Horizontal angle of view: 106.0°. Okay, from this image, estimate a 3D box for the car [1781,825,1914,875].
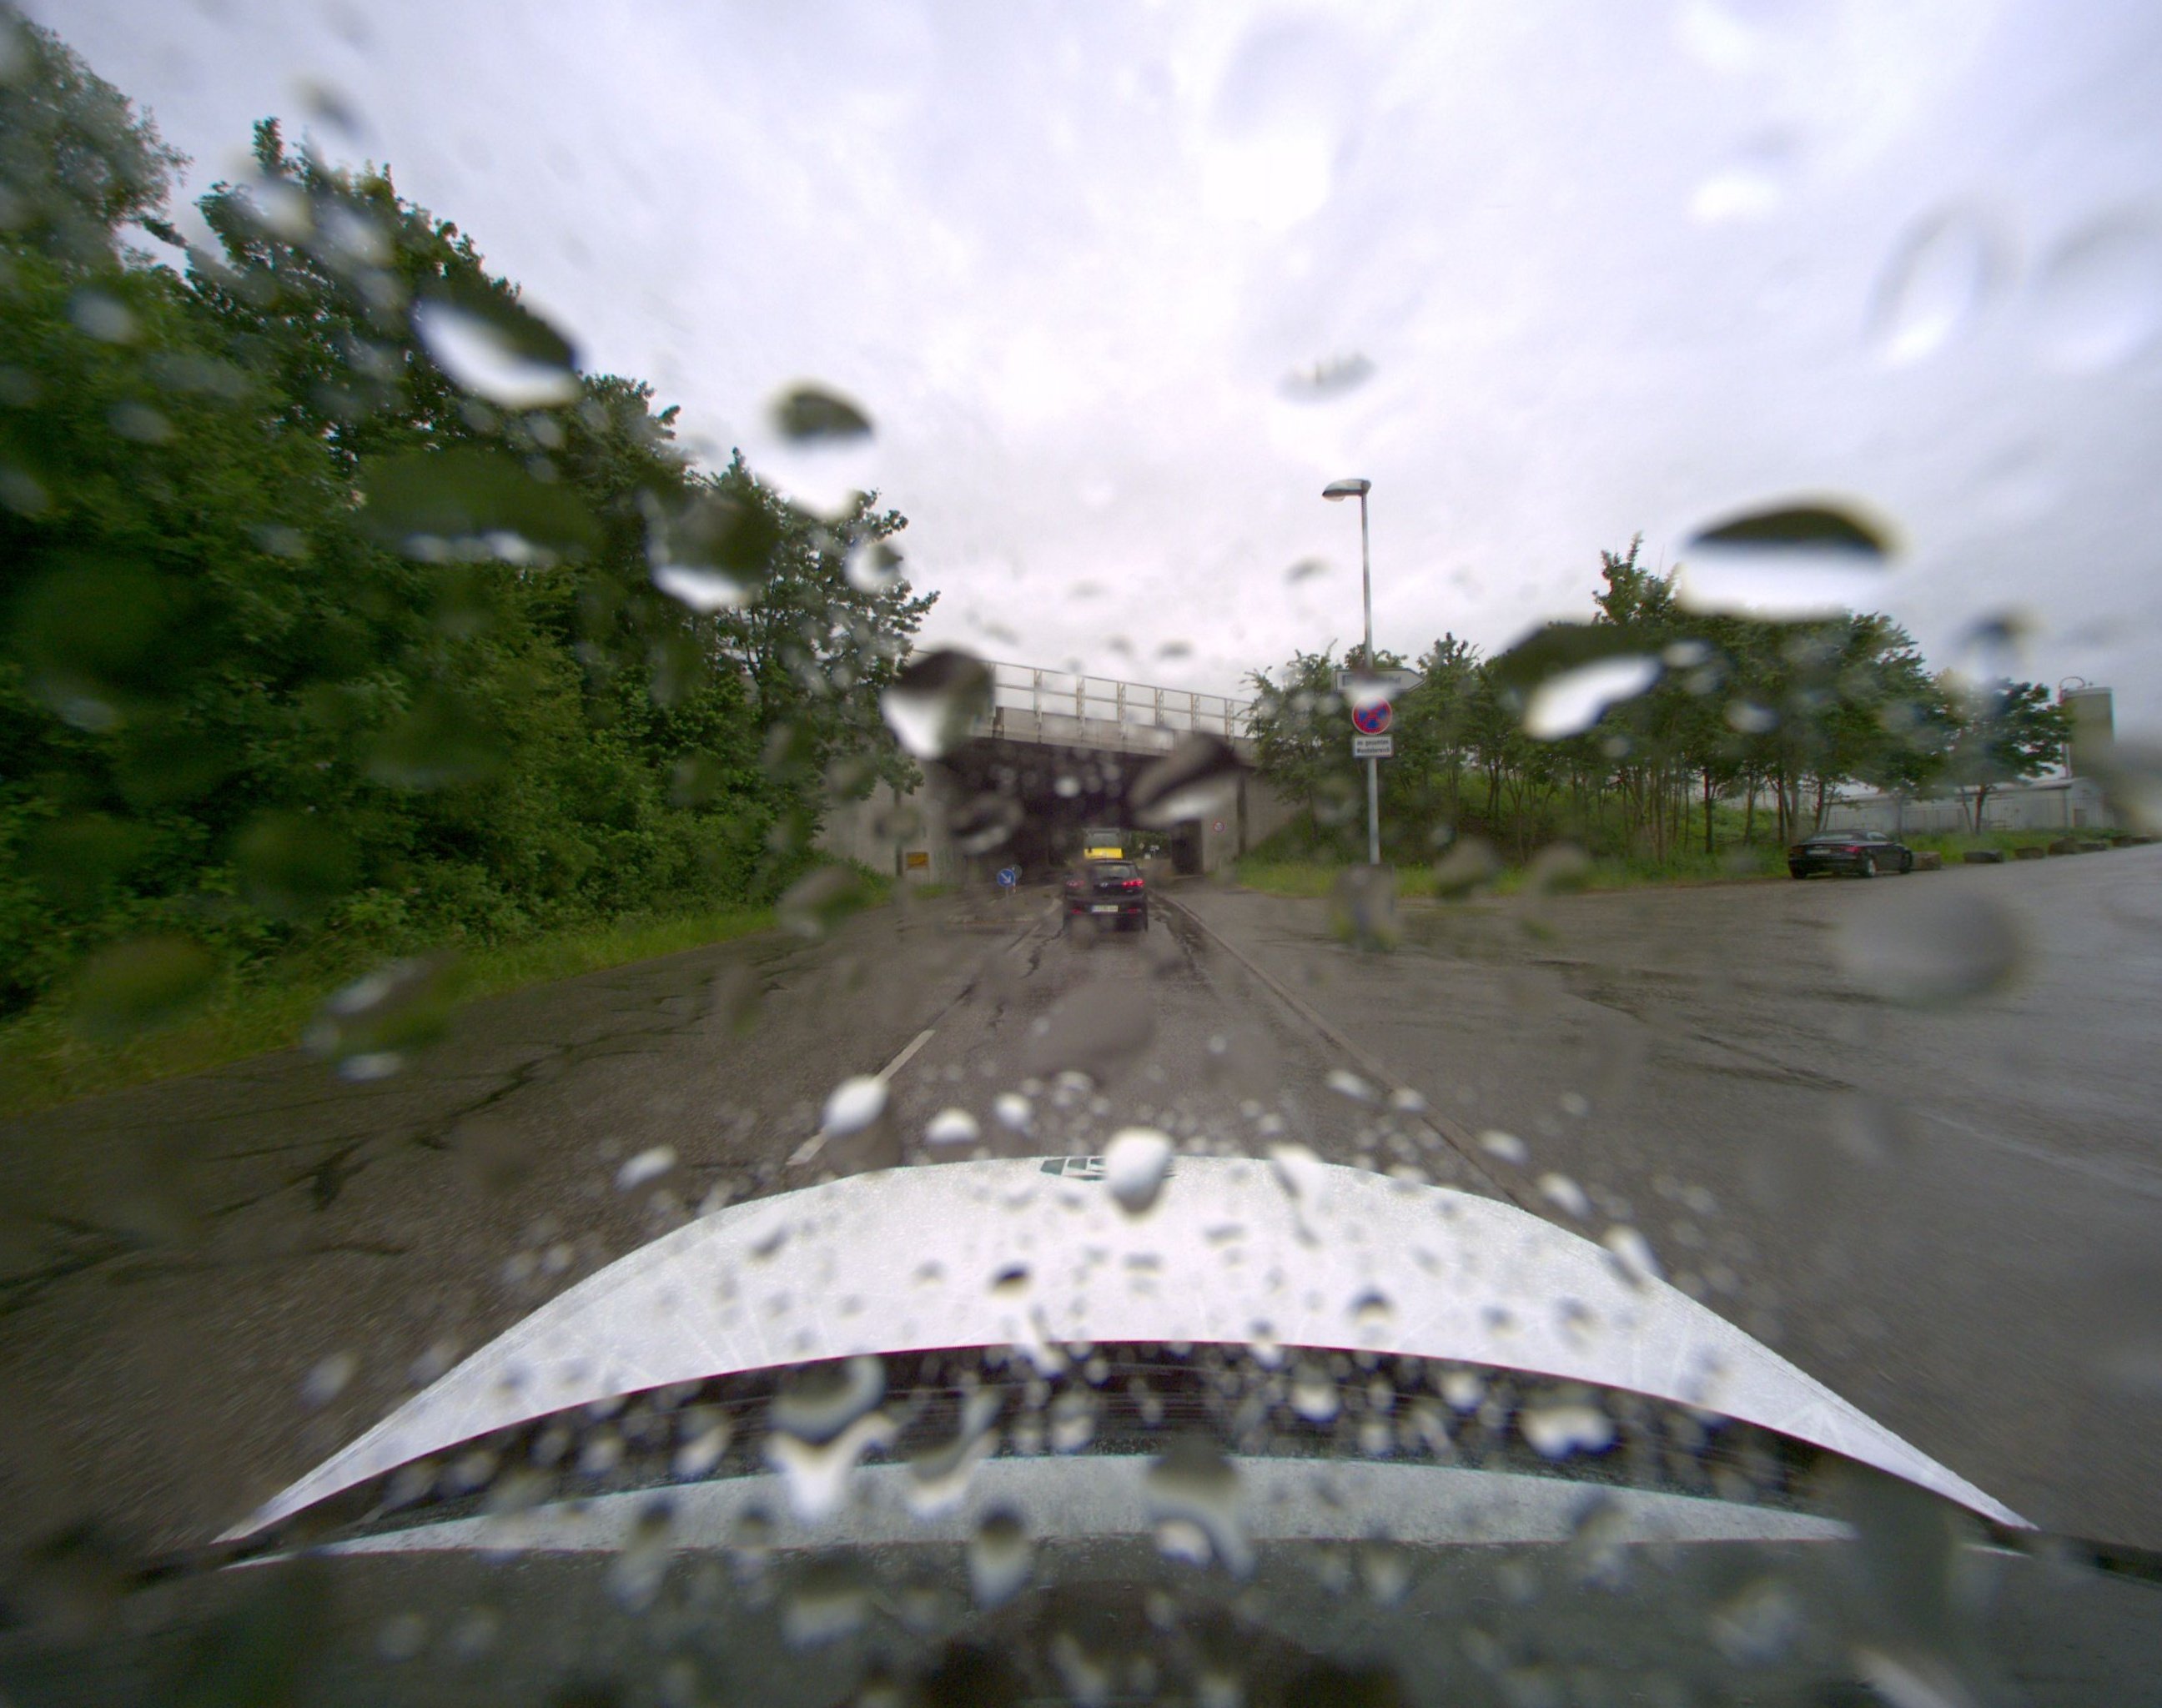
[{"bbox_3d":[22.548,-0.087,23.937,4.126,1.359,1.885,0,-1,-33],"label":"car"}]

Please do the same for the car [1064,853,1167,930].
[{"bbox_3d":[0.705,0.738,17.690,1.986,1.487,4.000,0,-1,1],"label":"car"}]

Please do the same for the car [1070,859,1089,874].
[{"bbox_3d":[-0.134,1.305,87.740,1.683,1.487,4.077,-1,0,4],"label":"car"}]

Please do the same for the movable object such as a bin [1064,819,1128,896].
[{"bbox_3d":[0.583,0.161,31.551,2.238,2.669,6.627,0,-1,1],"label":"movable object such as a bin"}]
